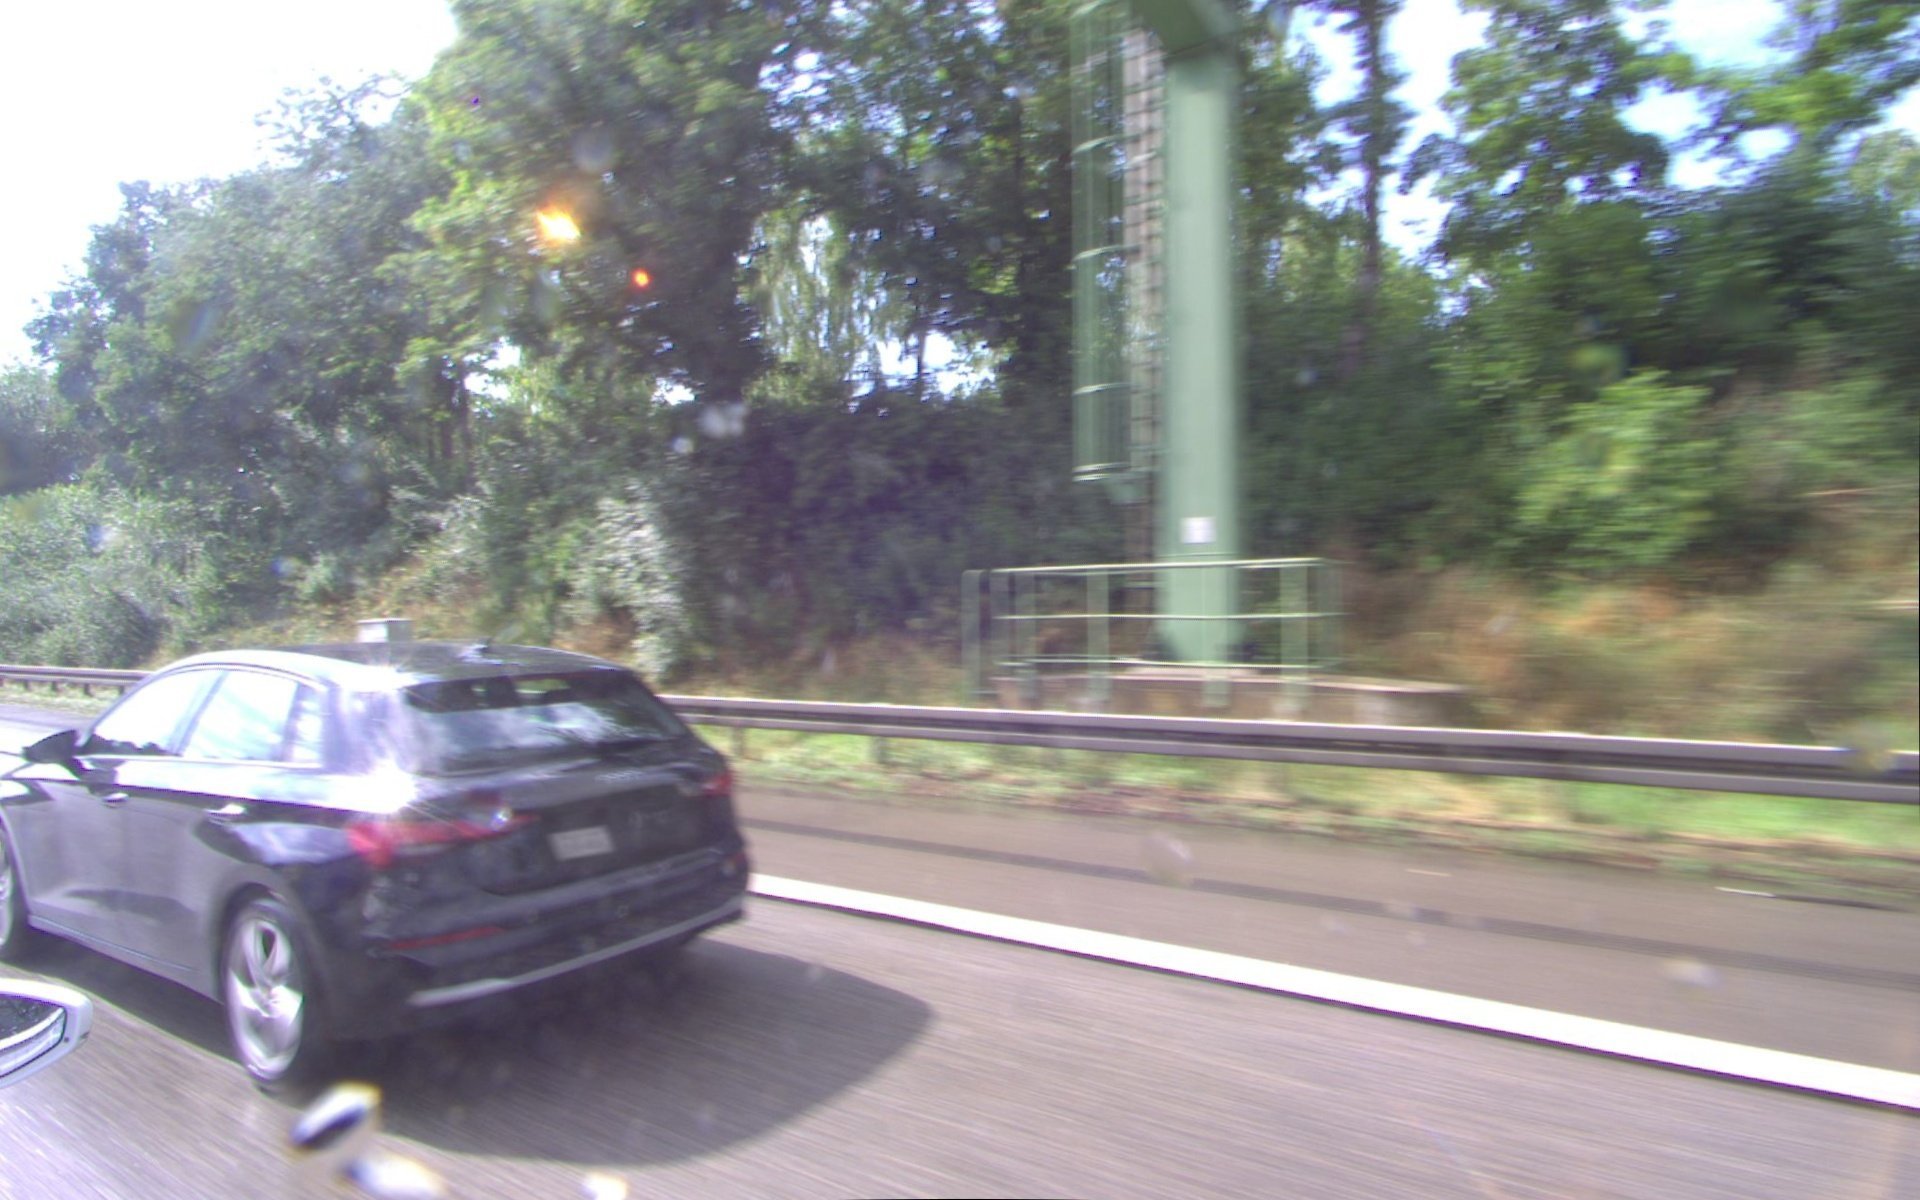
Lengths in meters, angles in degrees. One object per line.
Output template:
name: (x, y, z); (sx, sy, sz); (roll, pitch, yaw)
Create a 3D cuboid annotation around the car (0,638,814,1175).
car: (-2.881, 0.892, 4.595); (4.306, 1.414, 1.752); (-1, -2, 33)
